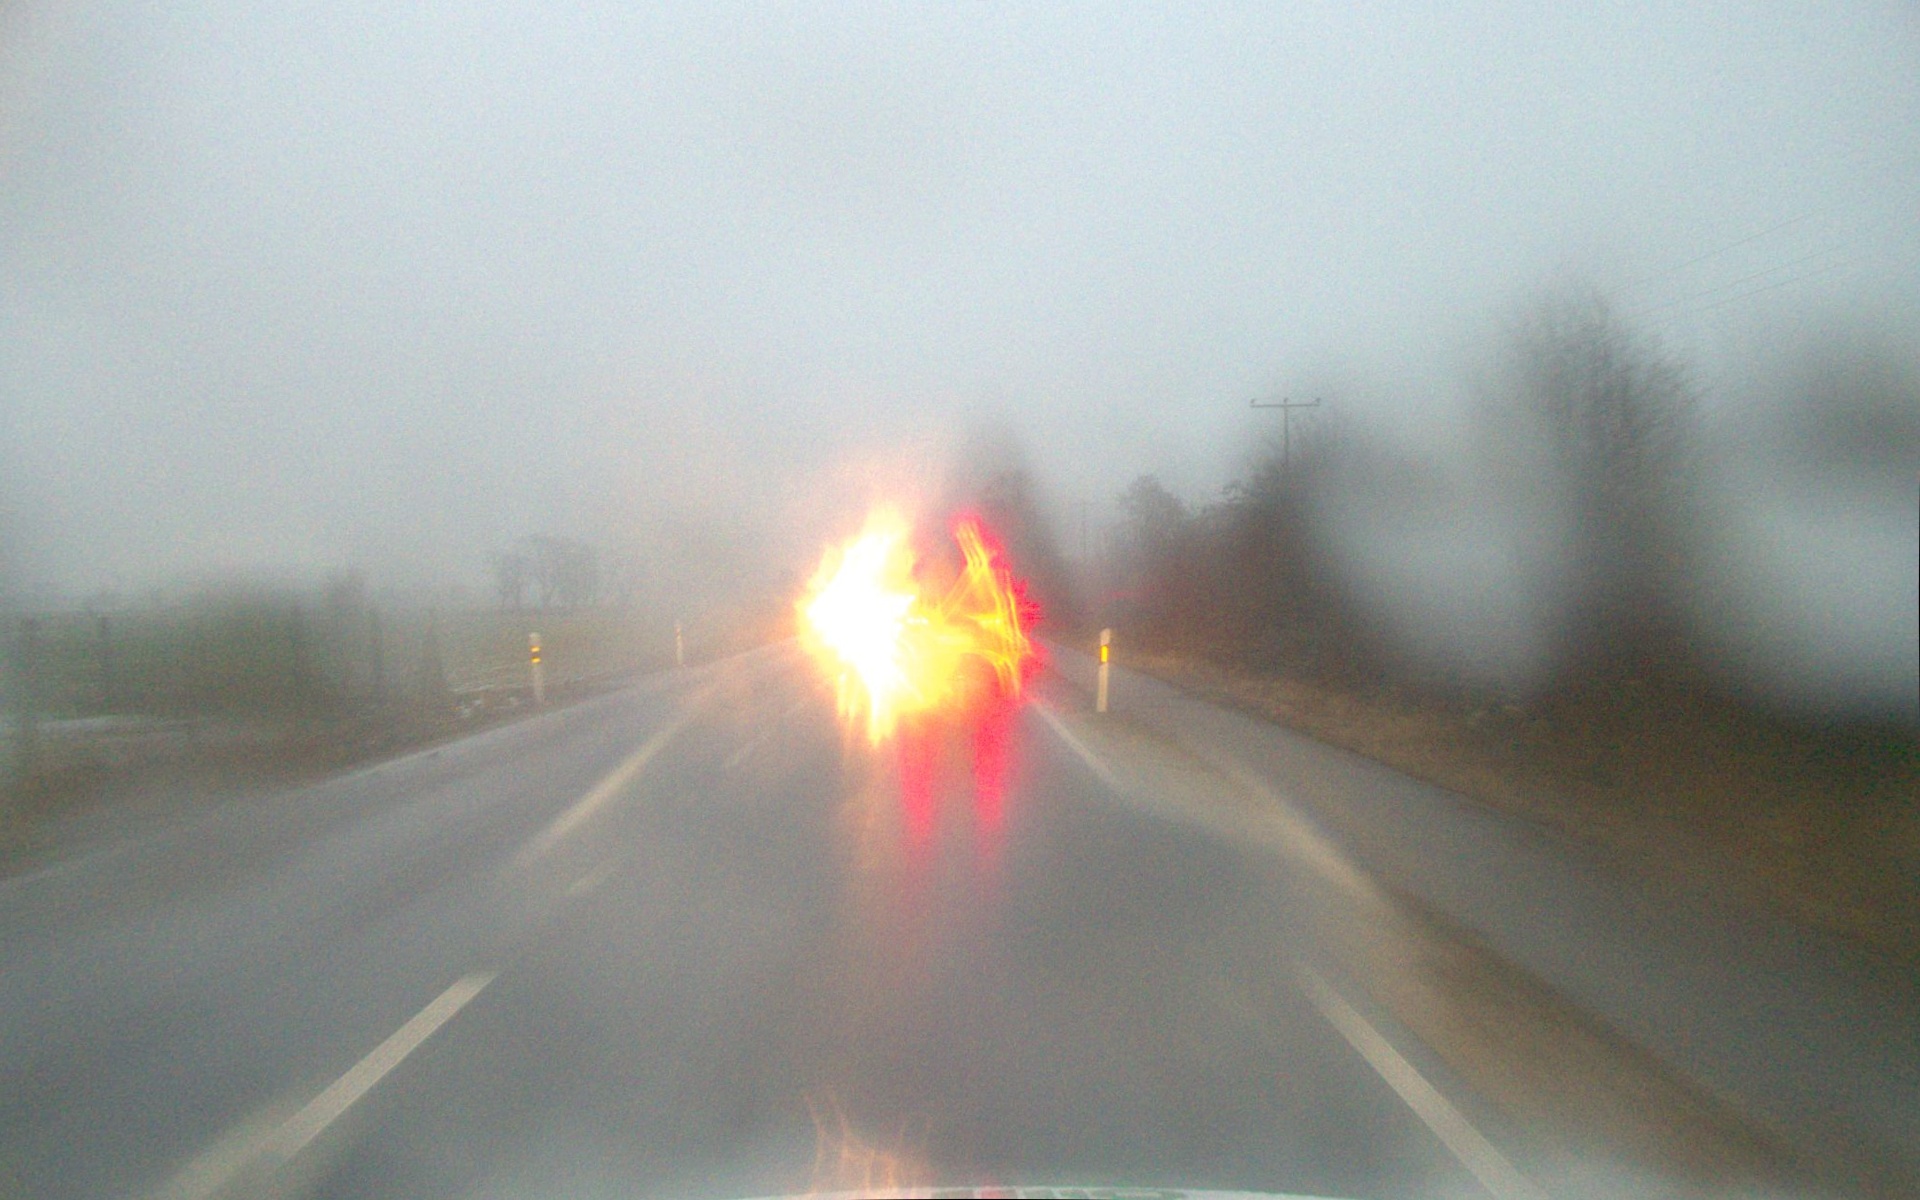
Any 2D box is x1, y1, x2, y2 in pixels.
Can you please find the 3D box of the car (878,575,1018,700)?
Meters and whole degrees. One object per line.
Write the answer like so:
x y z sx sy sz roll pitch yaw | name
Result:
-0.211 0.614 27.015 2.077 1.852 4.978 0 -1 -1 | car

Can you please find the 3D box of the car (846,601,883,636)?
-4.941 0.954 86.023 1.759 1.715 4.185 -1 0 -2 | car
